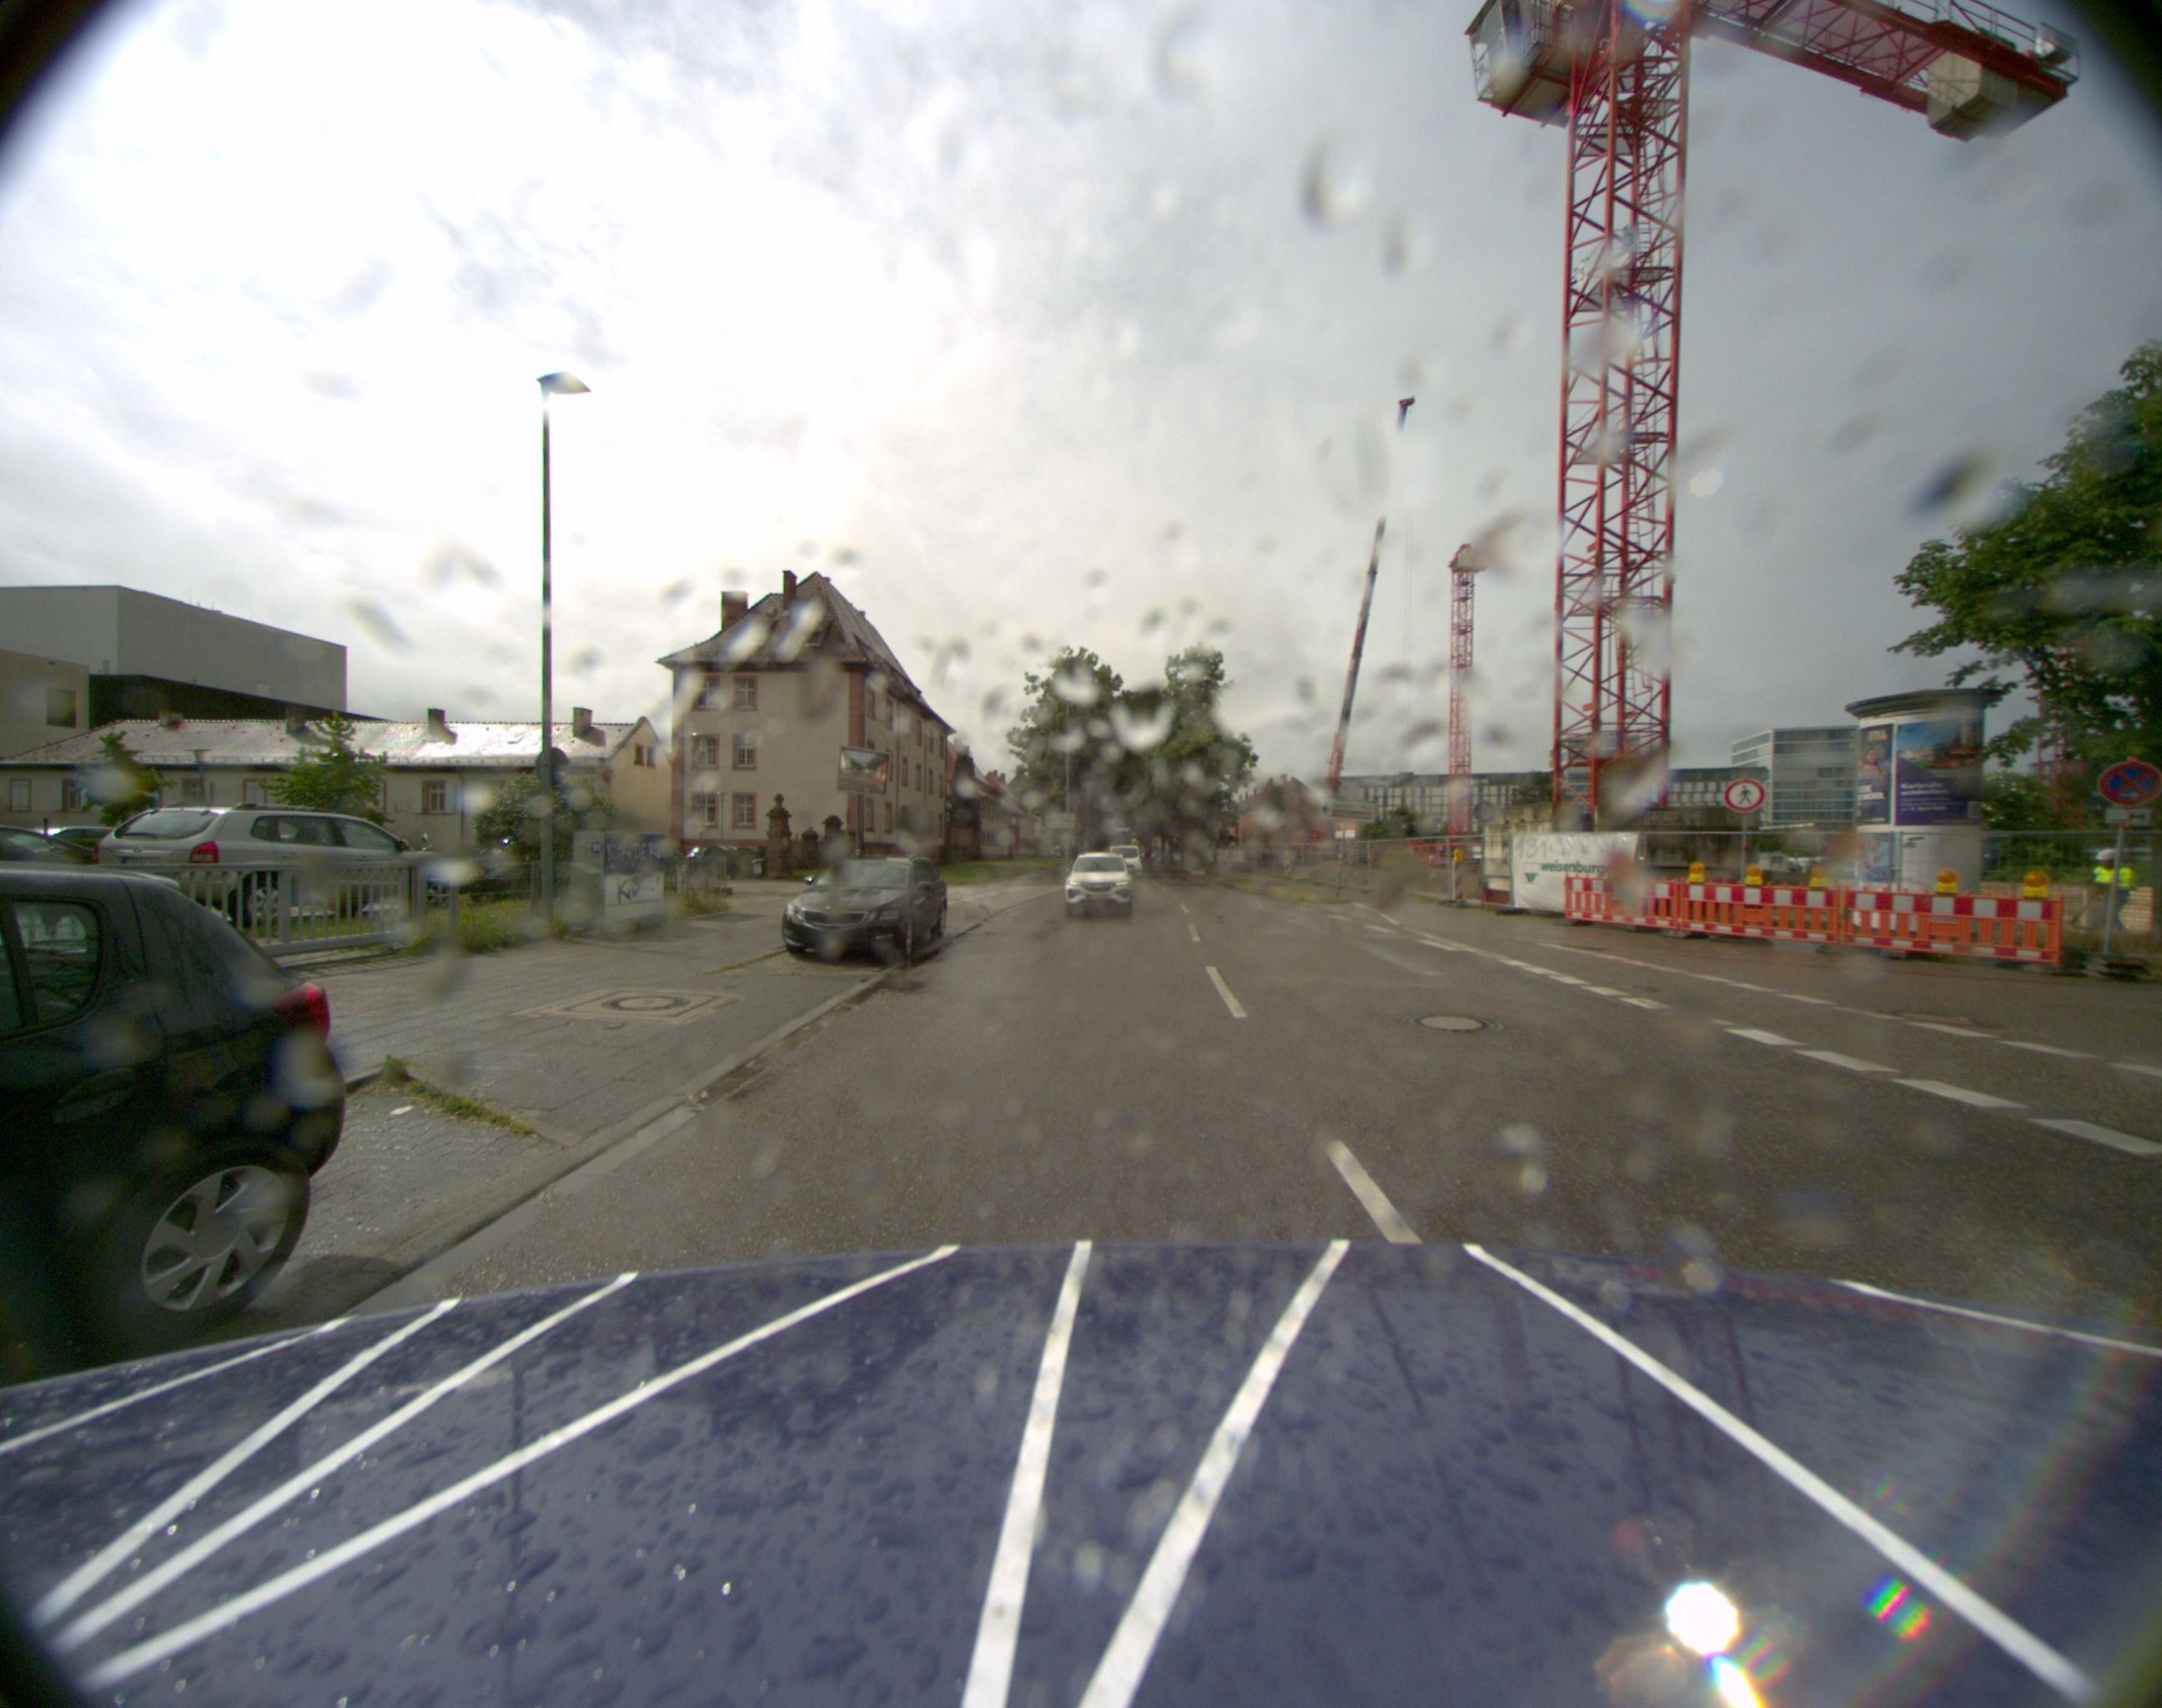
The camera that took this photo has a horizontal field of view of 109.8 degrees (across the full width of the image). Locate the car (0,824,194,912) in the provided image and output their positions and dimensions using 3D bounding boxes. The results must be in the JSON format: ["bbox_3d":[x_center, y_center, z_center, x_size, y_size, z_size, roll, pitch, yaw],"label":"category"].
[{"bbox_3d":[-19.637,0.220,13.723,1.832,1.518,4.425,1,1,7],"label":"car"}]

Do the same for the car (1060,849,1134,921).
[{"bbox_3d":[0.438,0.671,18.511,1.608,1.499,4.000,-1,1,3],"label":"car"}]

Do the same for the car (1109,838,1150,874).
[{"bbox_3d":[2.823,0.049,45.423,2.107,1.990,5.433,-1,1,0],"label":"car"}]

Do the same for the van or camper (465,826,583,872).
[{"bbox_3d":[-27.857,-0.241,38.260,1.793,2.104,5.187,-1,0,4],"label":"van or camper"}]

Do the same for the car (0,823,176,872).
[{"bbox_3d":[-37.460,-0.276,28.699,1.758,1.682,3.807,-1,1,5],"label":"car"}]

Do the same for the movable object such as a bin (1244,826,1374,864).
[{"bbox_3d":[29.478,-1.203,98.866,15.939,4.533,3.102,-1,2,6],"label":"movable object such as a bin"}]

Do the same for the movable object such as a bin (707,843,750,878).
[{"bbox_3d":[-15.286,0.277,32.971,1.108,1.449,1.391,2,1,4],"label":"movable object such as a bin"}]

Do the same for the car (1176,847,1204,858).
[{"bbox_3d":[16.215,-0.203,112.977,3.863,1.543,1.700,-1,2,21],"label":"car"}]

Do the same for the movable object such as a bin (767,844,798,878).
[{"bbox_3d":[-12.927,0.294,32.897,0.801,1.449,1.097,2,1,4],"label":"movable object such as a bin"}]

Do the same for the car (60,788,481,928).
[{"bbox_3d":[-11.982,0.031,11.760,1.807,1.740,4.239,1,1,5],"label":"car"}]

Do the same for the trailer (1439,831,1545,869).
[{"bbox_3d":[39.718,-0.482,74.323,2.967,3.214,14.308,-3,1,2],"label":"trailer"}]

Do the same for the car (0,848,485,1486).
[{"bbox_3d":[-3.522,0.786,1.369,1.761,1.519,3.999,1,1,0],"label":"car"}]

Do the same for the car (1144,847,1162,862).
[{"bbox_3d":[8.041,0.037,84.723,1.845,1.598,4.001,-1,1,4],"label":"car"}]

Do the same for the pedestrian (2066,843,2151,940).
[{"bbox_3d":[17.632,0.623,13.058,0.619,1.610,0.550,2,1,18],"label":"pedestrian"}]

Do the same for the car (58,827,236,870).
[{"bbox_3d":[-34.789,-0.234,28.467,1.758,1.445,3.807,-1,1,5],"label":"car"}]

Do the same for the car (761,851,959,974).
[{"bbox_3d":[-3.286,0.767,12.281,1.778,1.531,4.378,3,1,1],"label":"car"}]

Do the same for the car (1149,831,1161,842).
[{"bbox_3d":[12.295,-2.875,126.016,1.817,1.531,3.983,3,0,4],"label":"car"}]

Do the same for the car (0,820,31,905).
[{"bbox_3d":[-22.289,0.158,13.170,1.856,1.669,4.426,1,1,9],"label":"car"}]

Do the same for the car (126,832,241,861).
[{"bbox_3d":[-47.174,-0.381,40.042,1.707,1.369,3.575,2,0,4],"label":"car"}]
